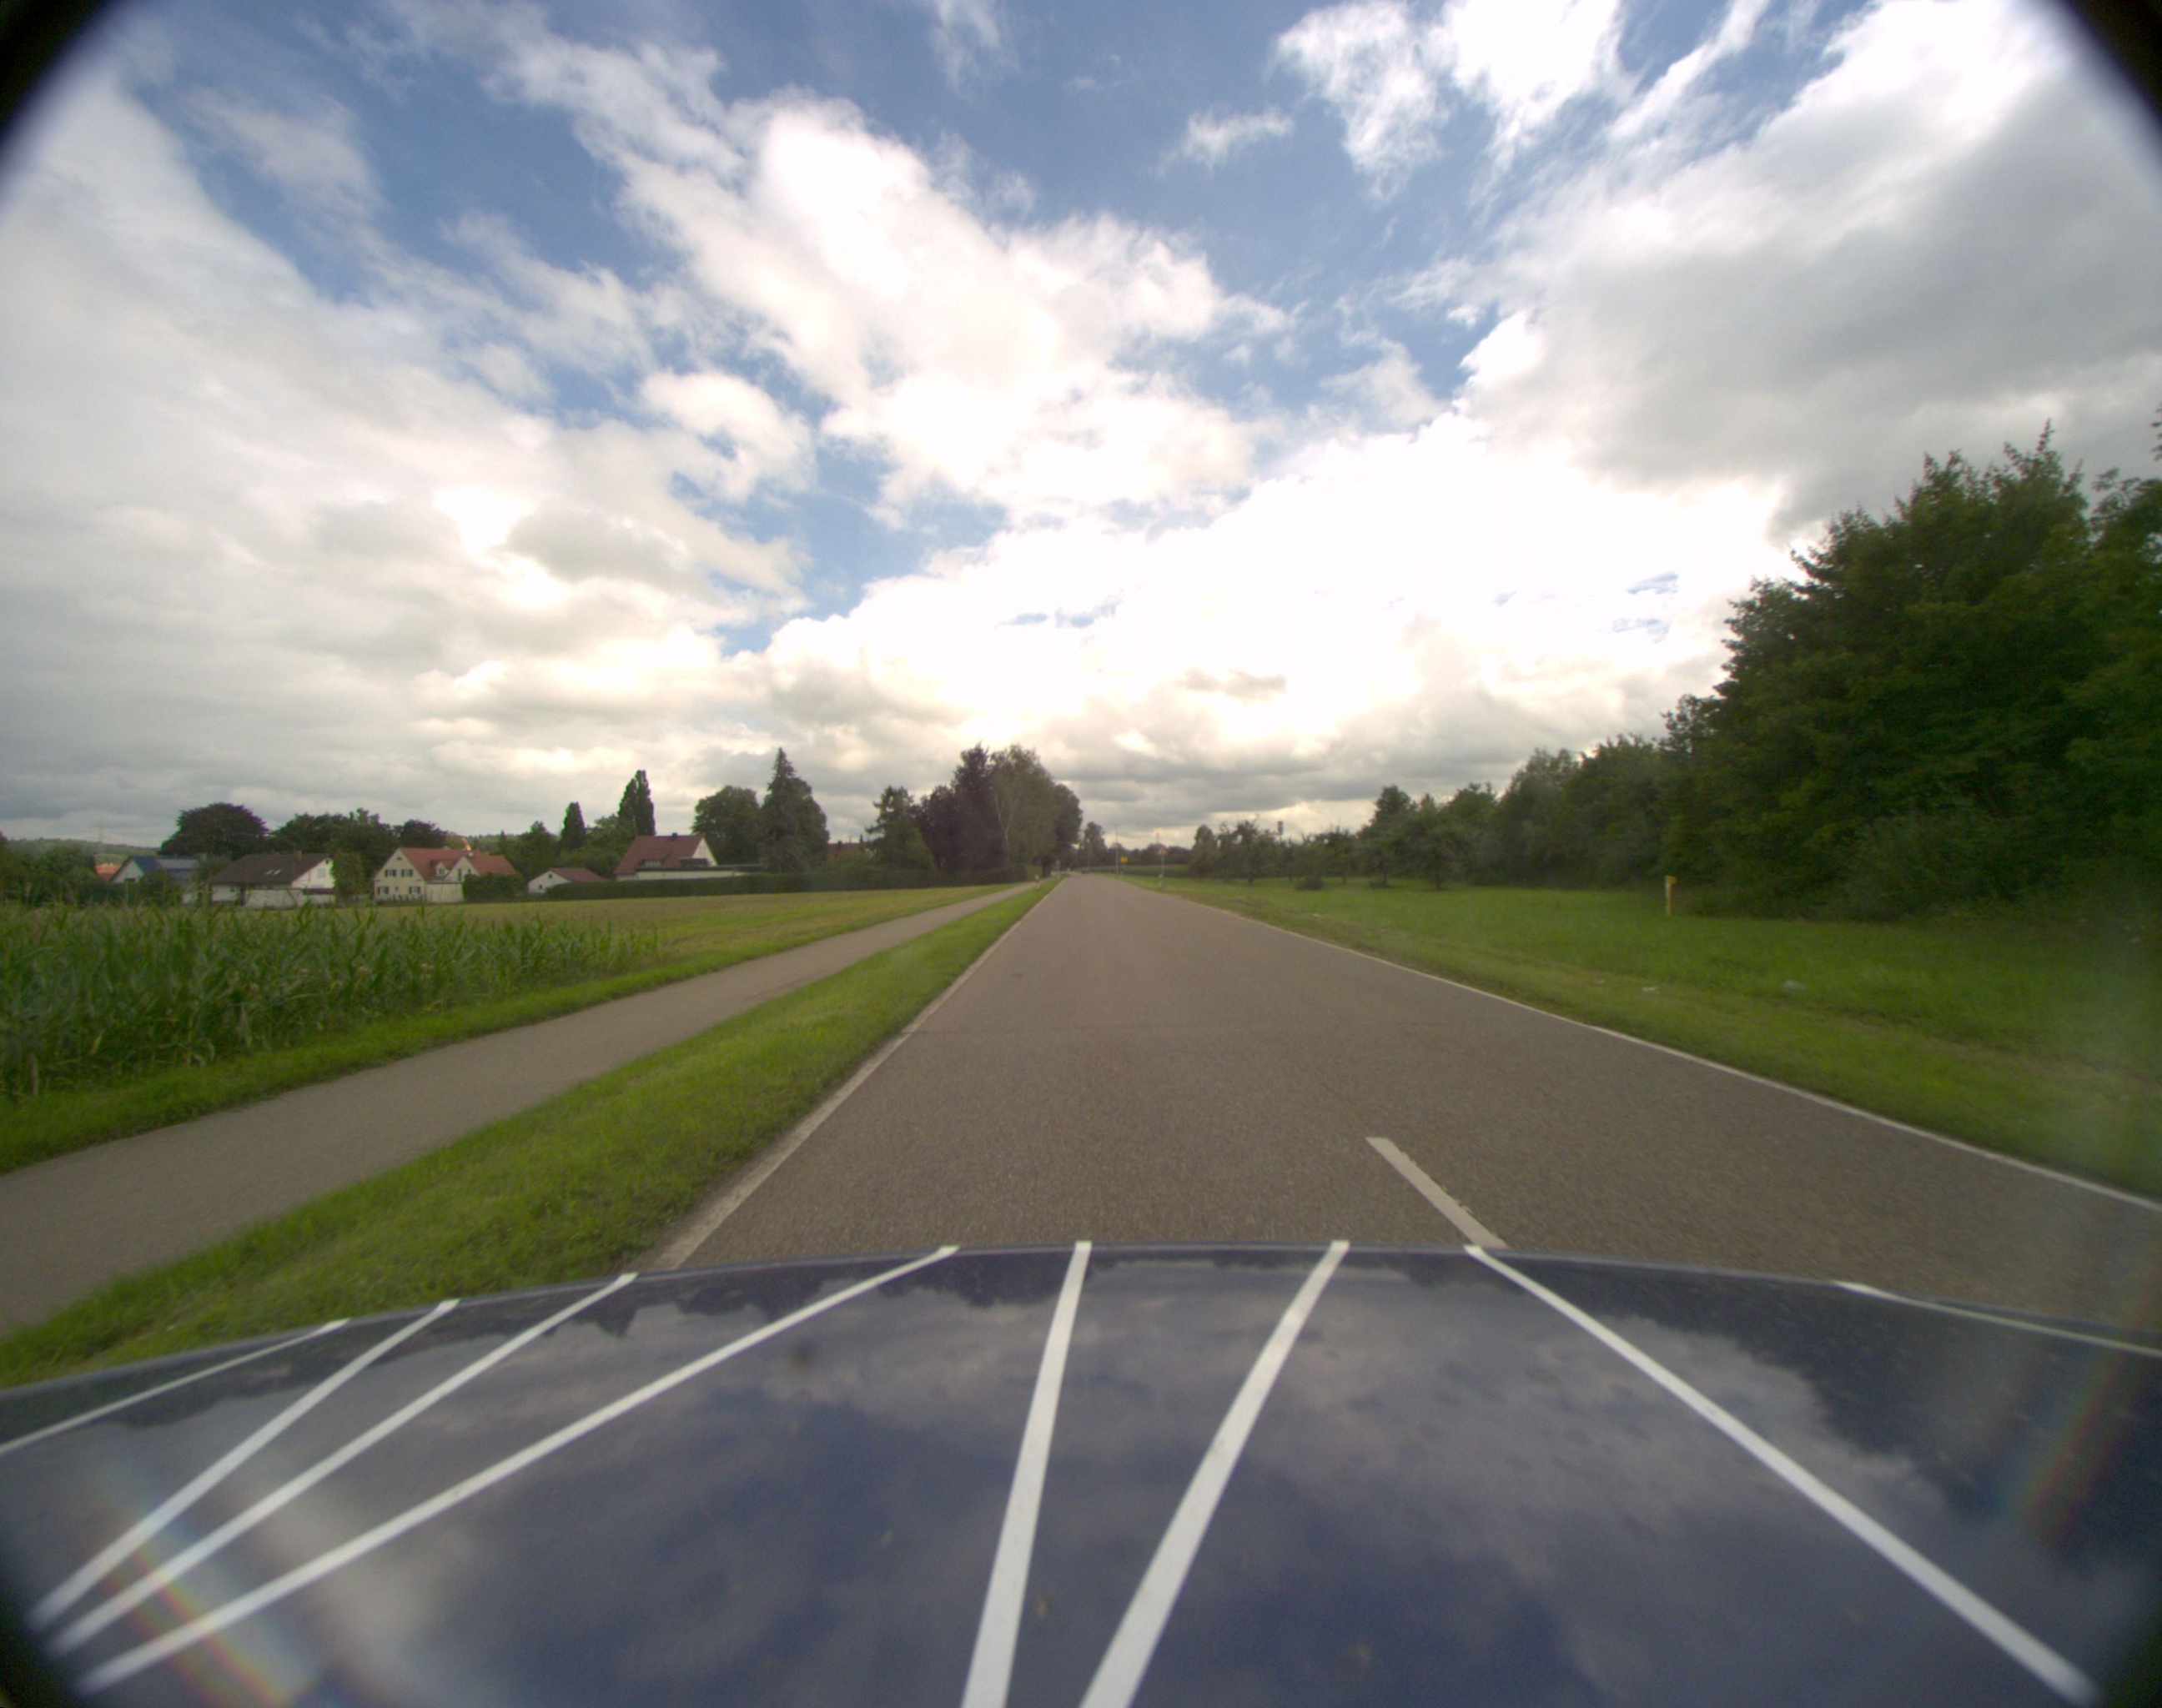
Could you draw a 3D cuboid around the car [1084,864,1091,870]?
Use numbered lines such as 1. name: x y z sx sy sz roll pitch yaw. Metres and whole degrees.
1. car: 1.712 3.648 212.419 1.869 1.542 4.182 1 -1 0
